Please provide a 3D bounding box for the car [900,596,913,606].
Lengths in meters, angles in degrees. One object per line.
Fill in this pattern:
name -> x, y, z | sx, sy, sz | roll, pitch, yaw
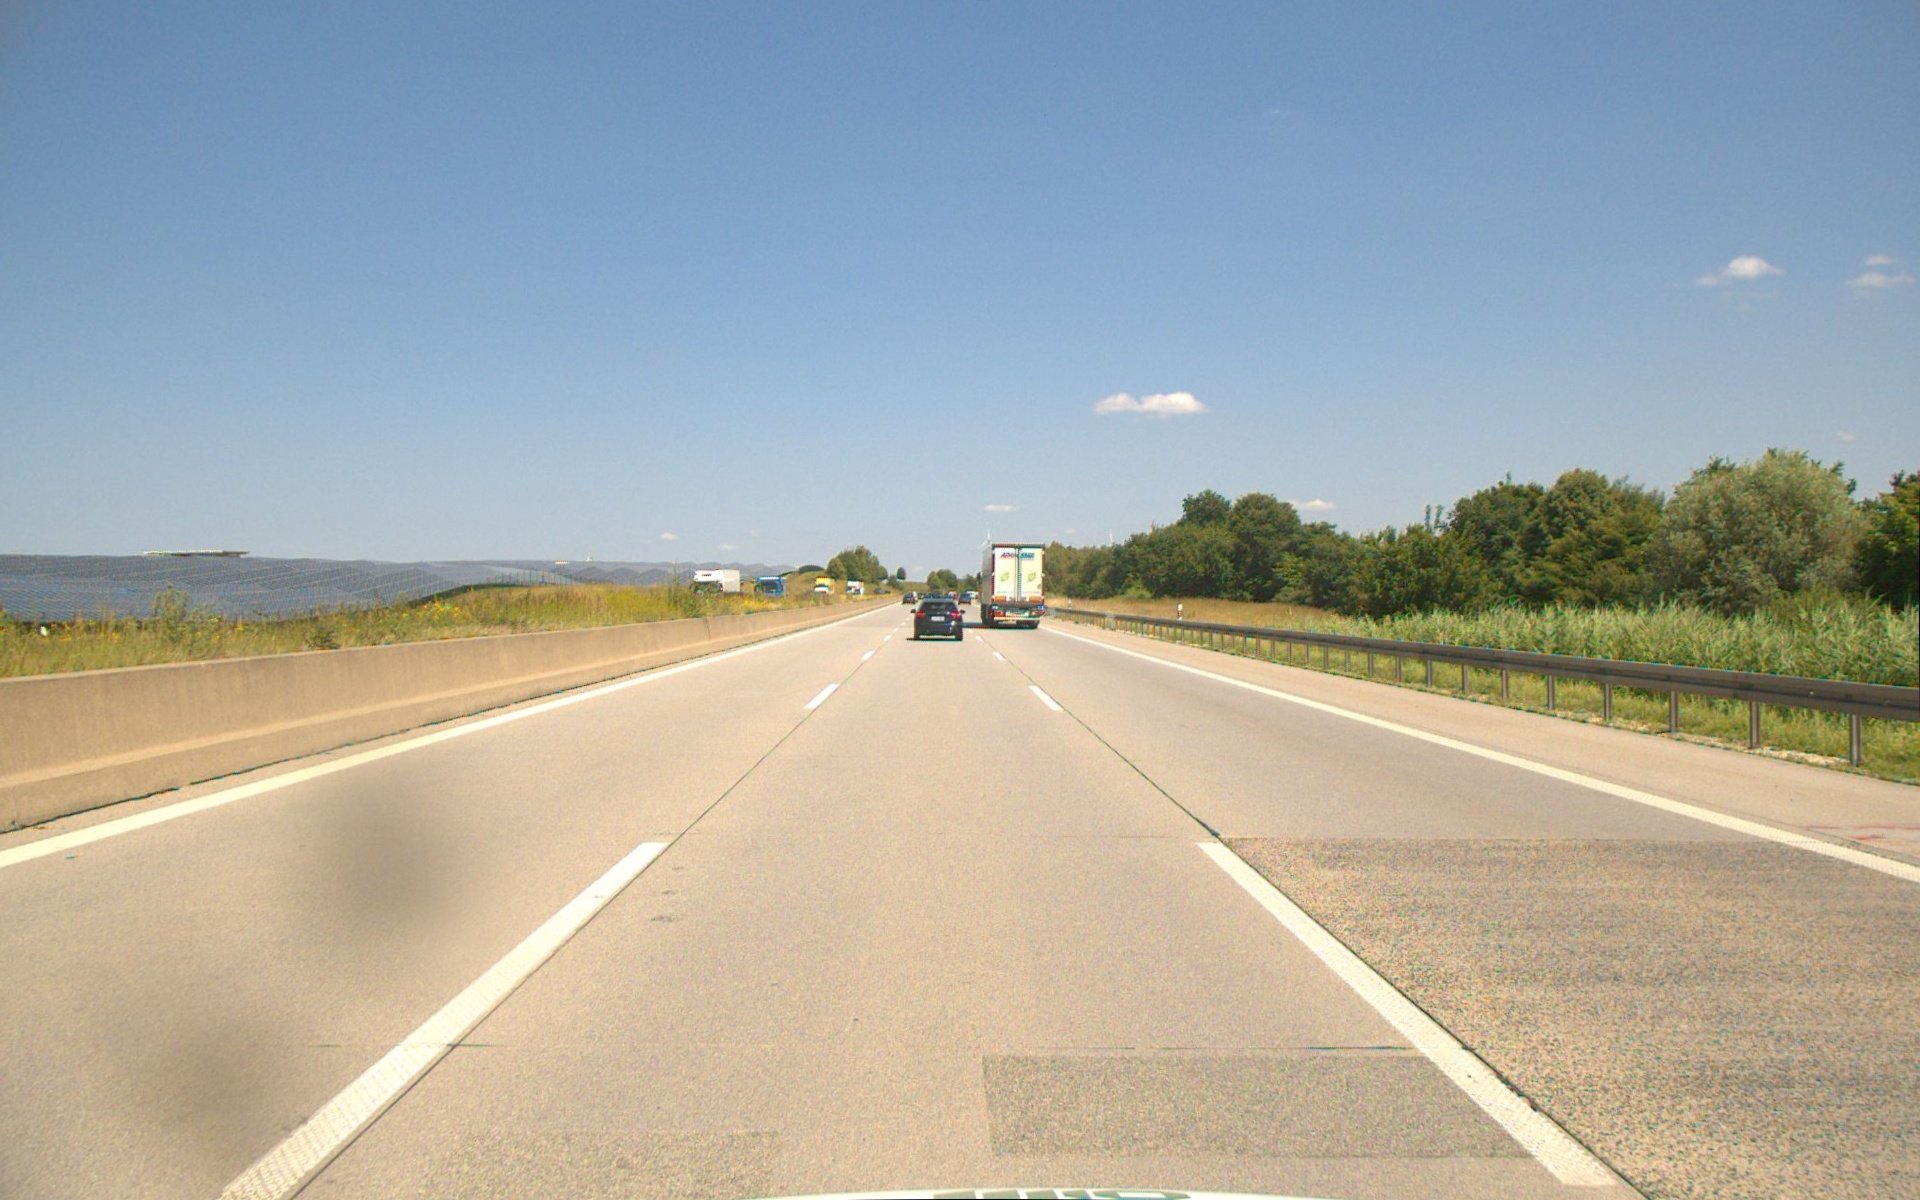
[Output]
car -> -7.403, 0.129, 229.846 | 1.622, 1.217, 3.959 | 3, 0, -1

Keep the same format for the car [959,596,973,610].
car -> 0.874, 0.474, 234.351 | 1.790, 1.940, 3.999 | 1, 0, -1

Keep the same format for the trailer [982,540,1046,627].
trailer -> 2.678, -0.805, 85.774 | 2.794, 4.113, 12.712 | 1, 0, 0

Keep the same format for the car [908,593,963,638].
car -> -0.885, 0.533, 59.357 | 1.872, 1.518, 4.190 | 1, 0, -1

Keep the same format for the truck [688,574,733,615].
truck -> -22.519, -0.440, 149.752 | 3.059, 3.548, 6.884 | 1, 0, -1
